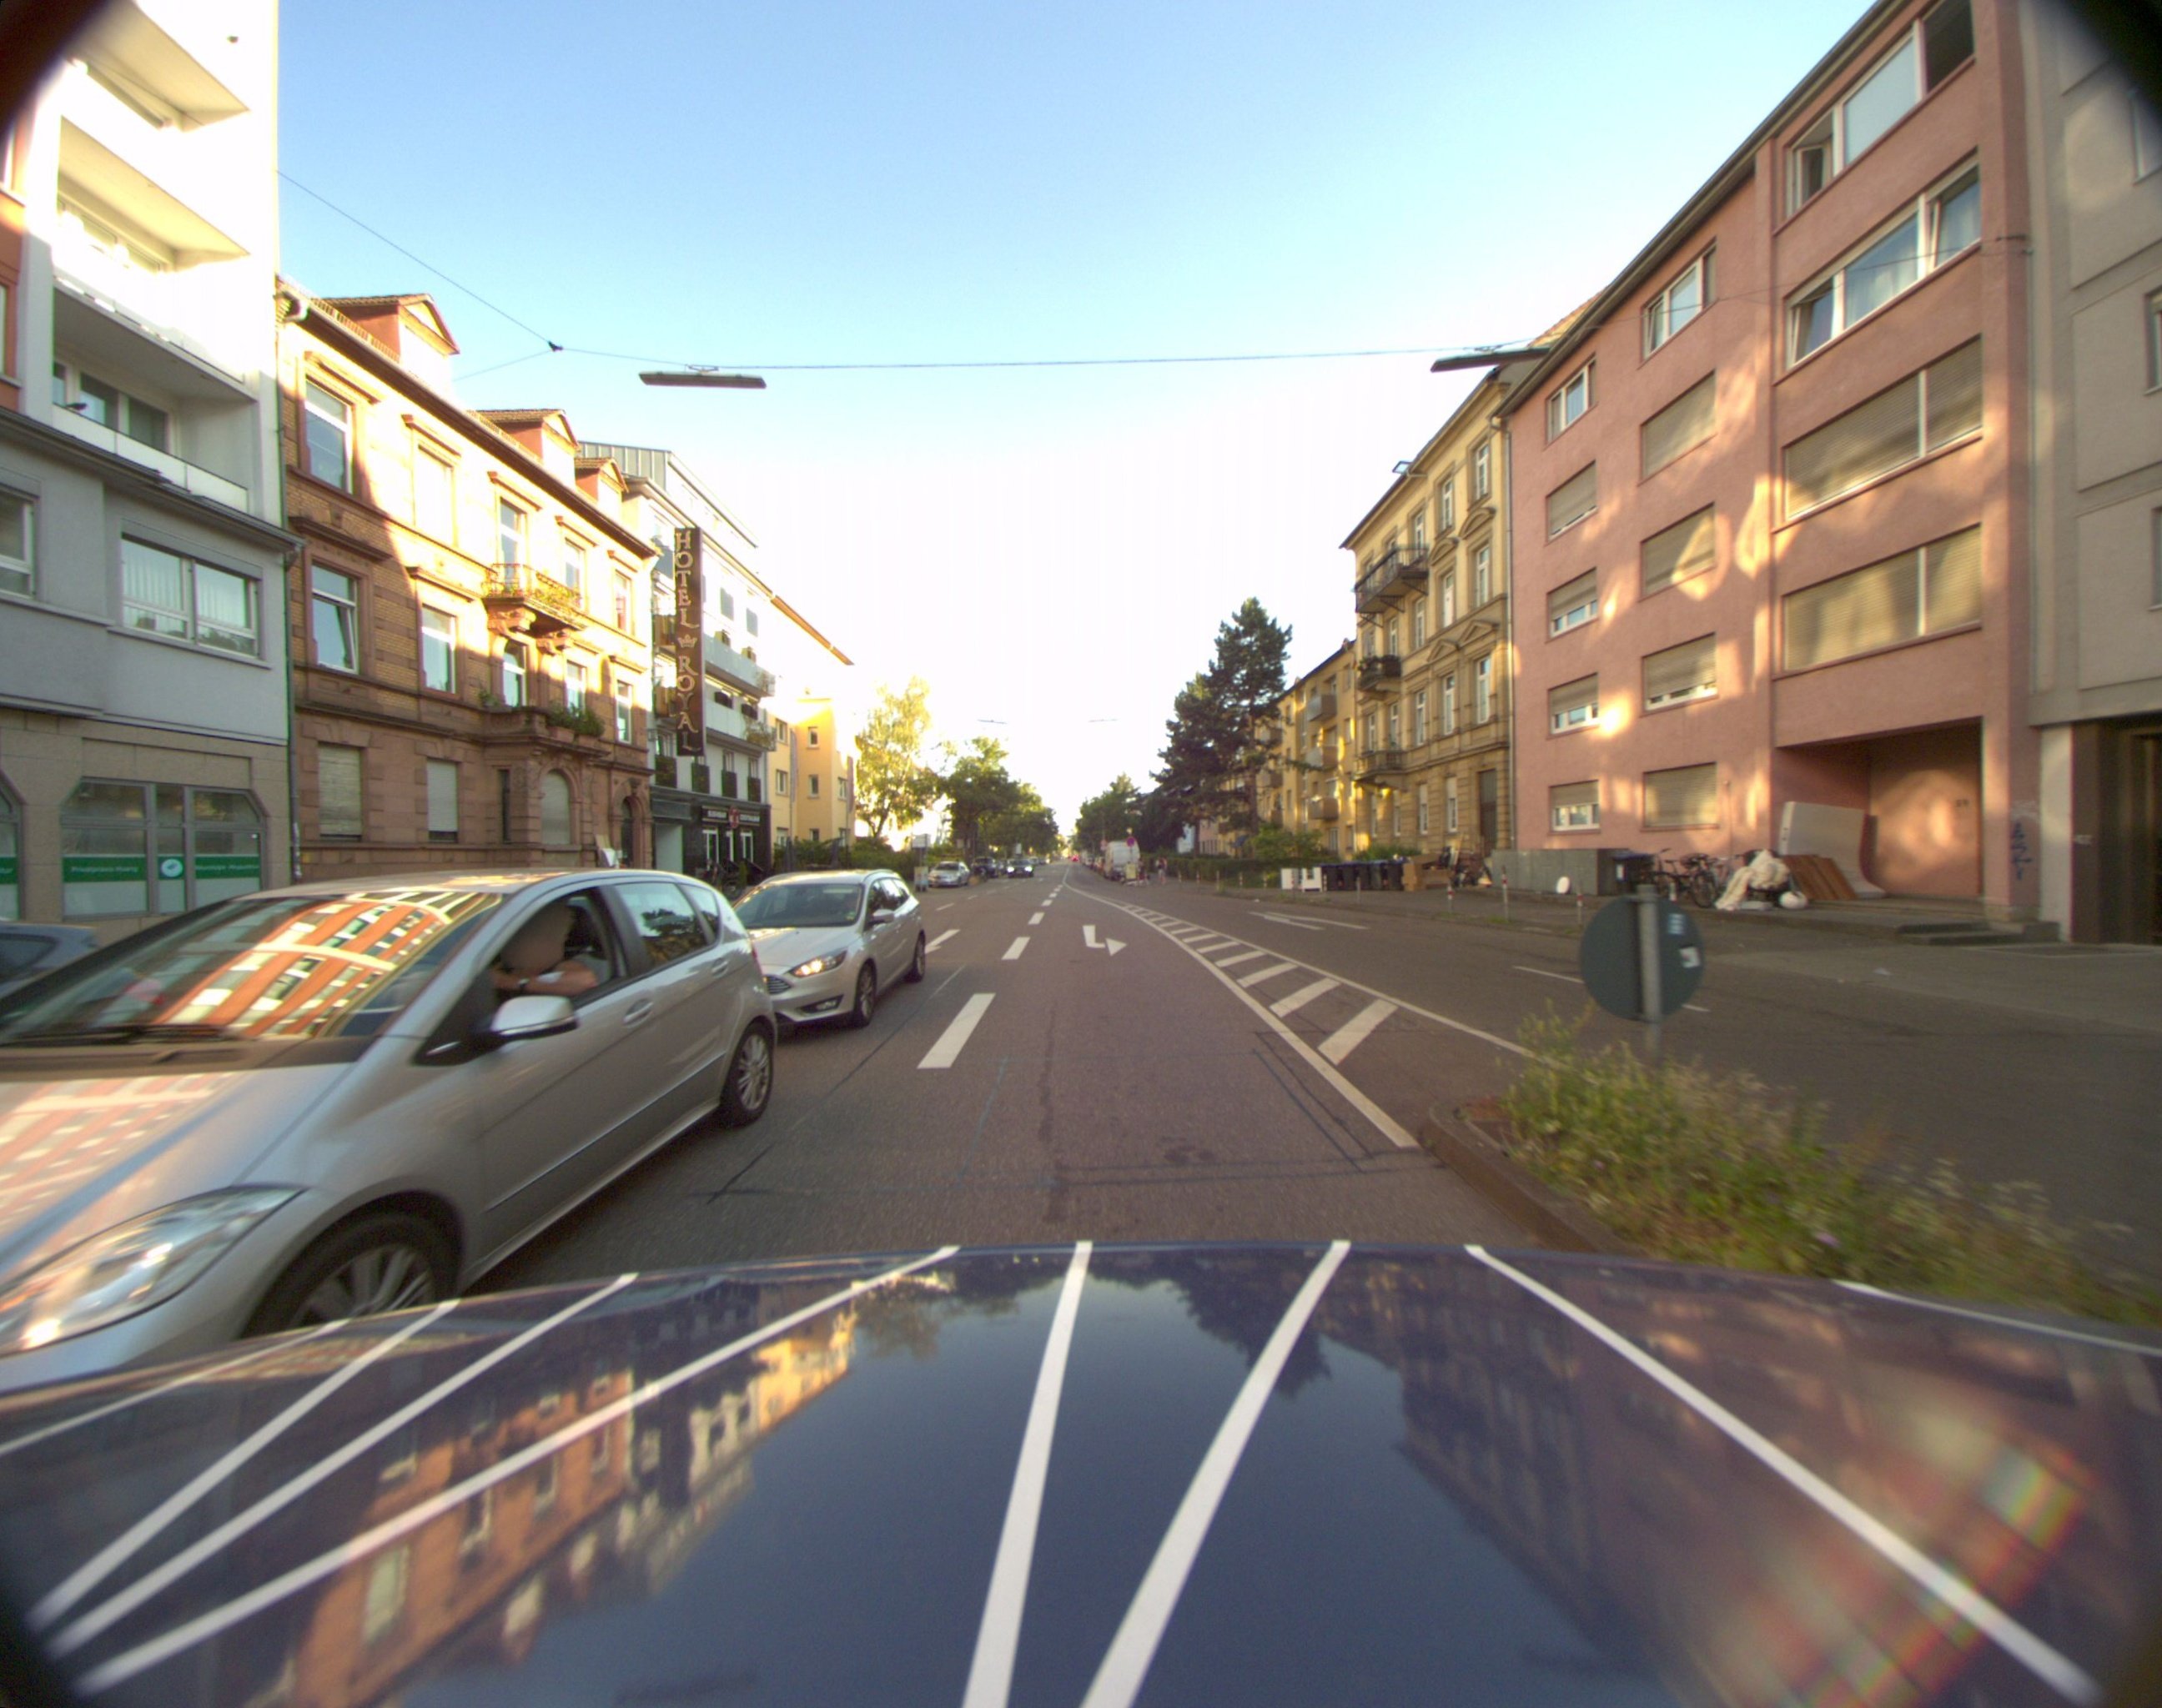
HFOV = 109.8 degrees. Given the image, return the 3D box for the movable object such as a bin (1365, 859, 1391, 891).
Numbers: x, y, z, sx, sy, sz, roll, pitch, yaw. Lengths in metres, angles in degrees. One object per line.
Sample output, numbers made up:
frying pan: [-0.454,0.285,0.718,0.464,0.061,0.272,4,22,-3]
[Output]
movable object such as a bin: [10.859,0.761,27.761,0.643,1.104,0.582,-4,2,-31]

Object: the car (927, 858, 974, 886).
car: [-7.729,1.048,45.449,1.860,1.503,4.834,0,0,1]

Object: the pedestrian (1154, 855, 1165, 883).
pedestrian: [4.643,0.865,44.847,0.481,1.642,0.725,0,0,-7]

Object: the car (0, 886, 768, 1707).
car: [-2.889,0.998,3.049,1.808,1.559,3.618,-1,0,-1]

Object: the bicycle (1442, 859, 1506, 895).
bicycle: [12.744,0.740,24.633,1.653,0.961,0.662,-6,1,-2]

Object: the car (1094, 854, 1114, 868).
car: [2.526,0.757,84.270,1.999,1.439,4.457,-1,0,-1]

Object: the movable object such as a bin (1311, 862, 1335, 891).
movable object such as a bin: [9.593,0.888,30.141,0.643,1.077,0.582,-4,2,-31]

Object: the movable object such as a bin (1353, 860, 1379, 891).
movable object such as a bin: [10.646,0.790,28.395,0.643,1.104,0.582,-4,2,-31]

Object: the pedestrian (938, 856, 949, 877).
pedestrian: [-10.632,0.972,58.915,0.748,1.606,0.579,-1,1,-2]

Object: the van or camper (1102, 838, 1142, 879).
van or camper: [2.852,0.277,54.142,2.041,2.648,6.013,-3,0,-3]

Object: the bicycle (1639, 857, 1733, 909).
bicycle: [12.901,0.607,16.215,1.675,1.035,0.549,-2,1,-7]

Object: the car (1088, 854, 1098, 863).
car: [1.979,0.760,125.036,1.684,1.434,3.881,-2,0,1]

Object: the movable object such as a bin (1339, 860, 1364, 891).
movable object such as a bin: [10.319,0.809,28.956,0.643,1.104,0.582,-4,2,-31]

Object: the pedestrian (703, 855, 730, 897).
pedestrian: [-14.464,0.847,30.154,0.709,1.633,0.693,-1,1,-1]

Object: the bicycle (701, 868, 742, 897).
bicycle: [-14.444,1.140,30.549,1.427,1.104,0.488,2,0,-18]

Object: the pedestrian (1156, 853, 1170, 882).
pedestrian: [4.763,0.797,44.097,0.606,1.642,0.696,-1,1,-7]

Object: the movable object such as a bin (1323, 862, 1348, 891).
movable object such as a bin: [9.885,0.861,29.540,0.643,1.062,0.626,-4,2,-31]

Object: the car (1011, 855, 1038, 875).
car: [-4.485,0.879,60.891,1.999,1.525,3.999,-1,0,-2]

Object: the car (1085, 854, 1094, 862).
car: [1.695,0.720,149.049,1.808,1.489,3.956,-1,0,1]

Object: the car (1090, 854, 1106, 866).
car: [2.137,0.753,96.668,1.842,1.508,4.315,-2,0,0]

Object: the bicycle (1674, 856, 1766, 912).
bicycle: [12.945,0.596,15.386,1.676,1.035,0.549,-2,1,-15]

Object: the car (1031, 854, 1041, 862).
car: [-8.642,0.778,145.125,1.798,1.577,3.999,0,0,-3]

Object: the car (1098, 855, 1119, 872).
car: [2.445,0.842,68.085,1.721,1.443,3.923,-2,0,-1]

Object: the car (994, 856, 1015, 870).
car: [-7.754,0.893,77.100,1.775,1.440,4.484,0,0,-1]

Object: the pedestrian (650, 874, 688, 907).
pedestrian: [-13.791,1.217,25.450,0.692,1.037,0.945,-1,0,3]

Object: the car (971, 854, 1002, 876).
car: [-7.613,0.841,61.475,1.953,1.645,4.795,-1,0,-1]

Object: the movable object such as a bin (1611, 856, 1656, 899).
movable object such as a bin: [13.575,0.559,18.672,0.676,1.026,0.589,-1,1,-1]

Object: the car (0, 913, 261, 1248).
car: [-5.884,1.128,2.538,1.655,1.476,4.239,-2,0,0]

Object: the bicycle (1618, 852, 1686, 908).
bicycle: [12.796,0.562,17.019,1.677,1.153,0.495,-3,1,-26]

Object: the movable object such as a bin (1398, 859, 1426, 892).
movable object such as a bin: [11.667,0.744,26.778,0.643,1.104,0.582,-4,2,-31]

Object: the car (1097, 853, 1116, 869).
car: [2.654,0.744,79.277,1.781,1.579,4.185,-2,0,0]

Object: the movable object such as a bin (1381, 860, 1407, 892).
movable object such as a bin: [11.241,0.768,27.289,0.643,1.104,0.582,-4,2,-31]

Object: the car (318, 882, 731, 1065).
car: [-5.876,1.134,8.802,1.712,1.448,4.158,-1,0,0]

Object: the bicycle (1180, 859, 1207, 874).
bicycle: [7.765,0.870,52.628,1.763,0.976,0.590,-2,1,0]

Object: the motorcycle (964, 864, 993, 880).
motorcycle: [-7.195,1.262,53.143,1.932,1.065,0.819,-1,1,-12]

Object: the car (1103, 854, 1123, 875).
car: [2.454,0.789,58.901,1.407,1.539,2.762,-3,0,1]

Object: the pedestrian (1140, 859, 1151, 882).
pedestrian: [3.827,0.984,45.195,0.560,1.370,0.480,-2,1,-6]

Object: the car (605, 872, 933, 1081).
car: [-2.888,1.022,8.171,1.712,1.501,4.308,-2,0,0]

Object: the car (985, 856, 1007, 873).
car: [-7.853,0.949,70.295,1.721,1.463,4.430,0,0,-2]

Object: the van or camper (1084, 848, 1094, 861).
van or camper: [1.710,0.091,162.945,1.918,2.528,5.334,-1,0,-1]
